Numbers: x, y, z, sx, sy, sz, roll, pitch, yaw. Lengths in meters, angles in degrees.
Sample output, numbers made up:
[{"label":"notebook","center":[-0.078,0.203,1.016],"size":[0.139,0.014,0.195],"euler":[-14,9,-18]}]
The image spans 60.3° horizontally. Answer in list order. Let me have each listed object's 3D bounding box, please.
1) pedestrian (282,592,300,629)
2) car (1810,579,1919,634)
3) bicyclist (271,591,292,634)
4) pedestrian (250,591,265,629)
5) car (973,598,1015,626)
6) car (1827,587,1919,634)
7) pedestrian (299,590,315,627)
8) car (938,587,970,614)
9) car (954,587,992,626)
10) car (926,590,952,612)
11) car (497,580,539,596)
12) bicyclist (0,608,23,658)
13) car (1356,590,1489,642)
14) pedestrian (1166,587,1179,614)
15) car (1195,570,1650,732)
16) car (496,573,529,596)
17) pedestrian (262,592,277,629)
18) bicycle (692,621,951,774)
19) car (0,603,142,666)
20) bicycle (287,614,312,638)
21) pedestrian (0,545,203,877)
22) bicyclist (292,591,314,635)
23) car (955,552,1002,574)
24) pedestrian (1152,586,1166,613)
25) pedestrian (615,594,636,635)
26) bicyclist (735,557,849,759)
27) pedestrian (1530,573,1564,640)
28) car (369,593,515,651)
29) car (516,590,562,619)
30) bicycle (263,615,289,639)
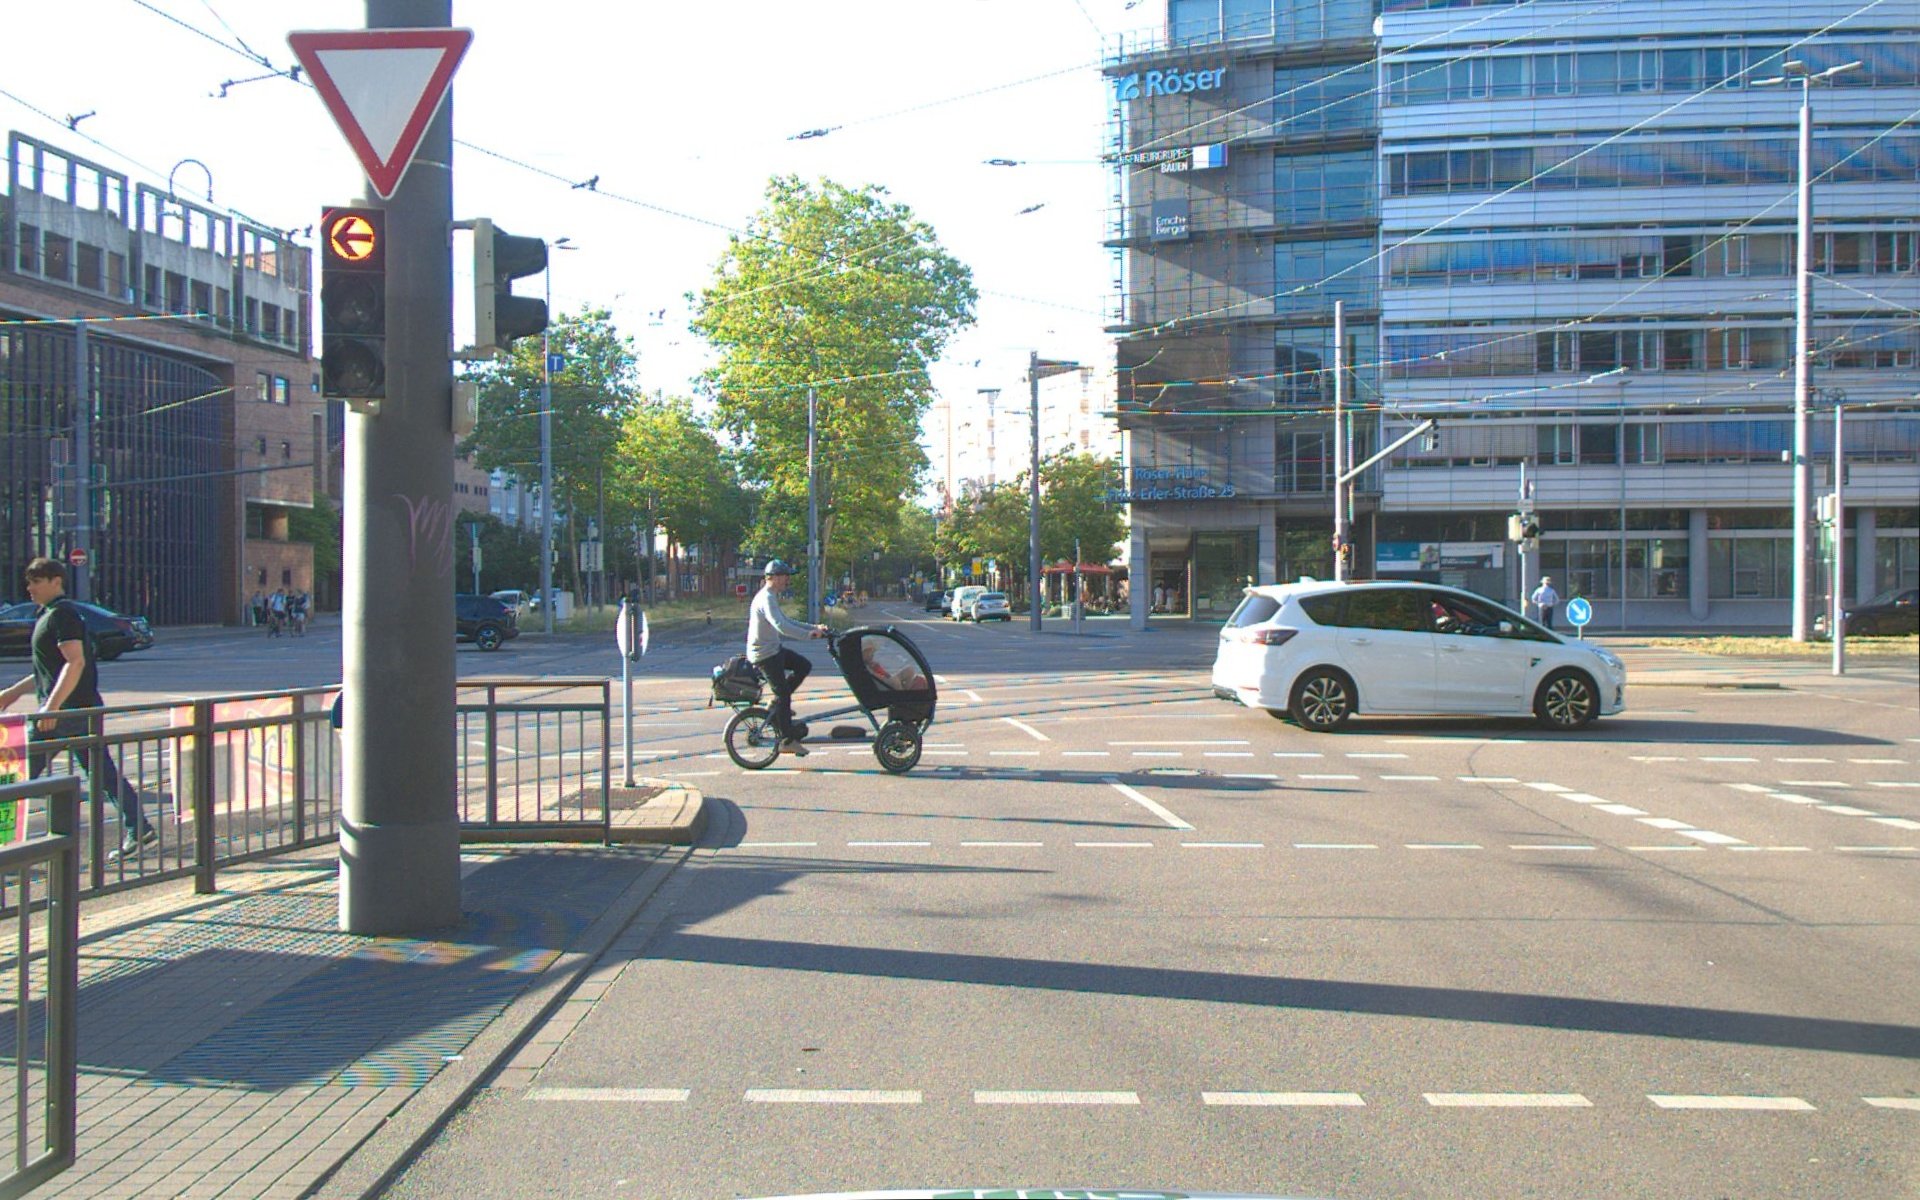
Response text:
[{"label":"pedestrian","center":[-33.003,0.511,81.581],"size":[0.627,1.842,0.546],"euler":[-1,0,6]},{"label":"car","center":[25.309,0.154,44.303],"size":[4.151,1.417,1.796],"euler":[-1,0,4]},{"label":"bicyclist","center":[-26.755,0.486,65.216],"size":[0.582,1.705,0.788],"euler":[-1,0,-7]},{"label":"pedestrian","center":[-34.662,0.500,81.610],"size":[0.479,1.842,0.546],"euler":[-1,0,6]},{"label":"car","center":[1.666,0.592,82.877],"size":[1.953,1.355,3.999],"euler":[-1,0,-1]},{"label":"car","center":[28.700,0.291,50.030],"size":[3.904,1.371,1.977],"euler":[-1,0,2]},{"label":"pedestrian","center":[-32.718,0.432,82.872],"size":[0.511,1.810,0.546],"euler":[-1,0,6]},{"label":"car","center":[-0.377,0.025,105.001],"size":[1.953,1.691,3.999],"euler":[-1,0,-1]},{"label":"car","center":[0.676,0.344,89.702],"size":[1.953,2.026,3.999],"euler":[-1,0,-1]},{"label":"car","center":[-1.633,0.063,126.699],"size":[1.953,1.691,3.999],"euler":[-1,0,-1]},{"label":"car","center":[-46.045,-1.218,172.393],"size":[3.948,1.579,1.589],"euler":[1,-1,-32]},{"label":"bicyclist","center":[-26.750,0.919,46.300],"size":[0.806,1.390,0.398],"euler":[-1,0,-17]},{"label":"car","center":[14.028,0.466,50.297],"size":[3.522,1.492,1.795],"euler":[-1,0,0]},{"label":"pedestrian","center":[11.902,0.043,92.658],"size":[0.691,1.491,0.384],"euler":[-1,0,8]},{"label":"car","center":[5.284,0.547,19.314],"size":[4.738,1.758,1.999],"euler":[0,0,-4]},{"label":"car","center":[-30.993,-1.074,114.613],"size":[1.873,1.536,3.988],"euler":[1,0,-12]},{"label":"pedestrian","center":[-34.736,0.524,83.195],"size":[0.479,1.842,0.546],"euler":[-1,0,6]},{"label":"bicycle","center":[-1.165,0.821,14.365],"size":[2.112,1.248,1.073],"euler":[0,1,3]},{"label":"car","center":[-22.682,0.839,40.761],"size":[4.164,1.459,1.791],"euler":[-1,0,-11]},{"label":"bicycle","center":[-26.109,1.024,65.422],"size":[0.503,0.897,1.835],"euler":[-1,0,-8]},{"label":"pedestrian","center":[-5.286,0.621,9.802],"size":[1.186,1.854,1.040],"euler":[0,0,-8]},{"label":"bicyclist","center":[-26.011,0.502,65.483],"size":[0.582,1.705,0.788],"euler":[-1,0,-7]},{"label":"car","center":[1.576,-3.132,140.920],"size":[3.681,1.780,1.783],"euler":[1,0,14]},{"label":"pedestrian","center":[11.205,-0.041,93.070],"size":[0.723,1.491,0.537],"euler":[-1,0,8]},{"label":"pedestrian","center":[-12.699,0.550,62.830],"size":[0.740,1.557,0.507],"euler":[1,0,-8]},{"label":"bicyclist","center":[-1.454,0.490,14.412],"size":[0.885,1.710,0.691],"euler":[-1,0,2]},{"label":"pedestrian","center":[15.210,0.176,42.891],"size":[0.704,1.711,0.557],"euler":[1,0,6]},{"label":"car","center":[-14.518,0.592,46.519],"size":[3.796,1.533,1.788],"euler":[-1,0,-15]},{"label":"car","center":[-23.565,0.243,92.649],"size":[1.955,1.534,3.994],"euler":[-1,0,-6]},{"label":"bicycle","center":[-26.904,1.055,65.105],"size":[0.503,0.897,1.835],"euler":[-1,0,-8]}]
